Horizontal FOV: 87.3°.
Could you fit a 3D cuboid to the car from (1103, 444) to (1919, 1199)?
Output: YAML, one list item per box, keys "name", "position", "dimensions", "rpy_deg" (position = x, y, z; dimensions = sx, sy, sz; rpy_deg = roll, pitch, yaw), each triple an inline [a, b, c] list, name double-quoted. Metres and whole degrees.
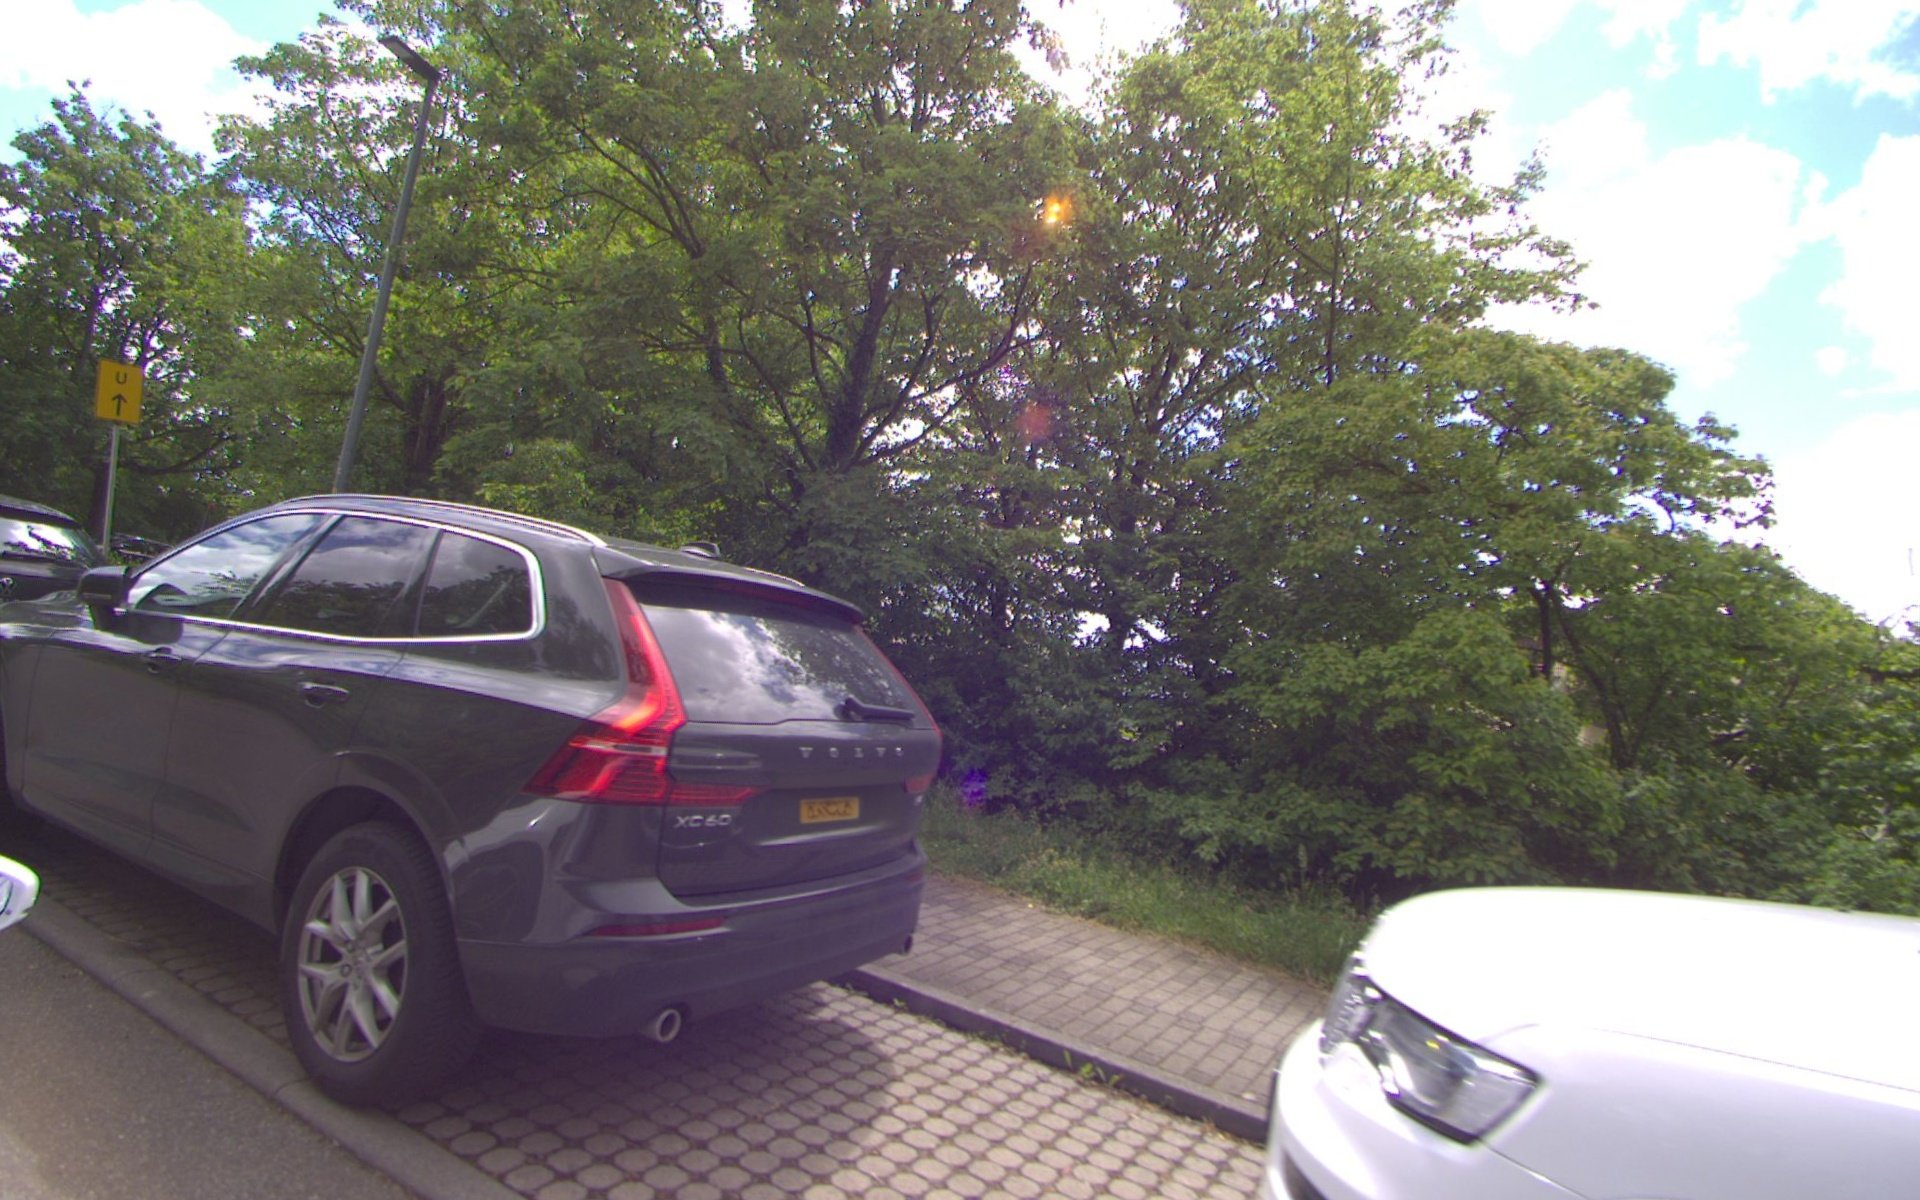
- name: "car"
  position: [2.623, 0.986, 1.113]
  dimensions: [4.503, 1.706, 1.878]
  rpy_deg: [7, -5, 32]

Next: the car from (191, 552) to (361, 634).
- name: "car"
  position: [-22.507, -0.179, 33.298]
  dimensions: [1.964, 1.608, 4.016]
  rpy_deg: [9, -8, 23]

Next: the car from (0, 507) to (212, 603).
- name: "car"
  position: [-24.561, -1.243, 29.113]
  dimensions: [1.964, 1.608, 4.016]
  rpy_deg: [9, -8, 23]

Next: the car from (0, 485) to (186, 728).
- name: "car"
  position: [-7.681, -0.176, 7.087]
  dimensions: [3.929, 1.479, 1.806]
  rpy_deg: [7, -4, 26]

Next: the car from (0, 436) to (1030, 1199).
- name: "car"
  position: [-2.125, 0.443, 4.095]
  dimensions: [4.204, 1.645, 1.999]
  rpy_deg: [8, -1, 29]
